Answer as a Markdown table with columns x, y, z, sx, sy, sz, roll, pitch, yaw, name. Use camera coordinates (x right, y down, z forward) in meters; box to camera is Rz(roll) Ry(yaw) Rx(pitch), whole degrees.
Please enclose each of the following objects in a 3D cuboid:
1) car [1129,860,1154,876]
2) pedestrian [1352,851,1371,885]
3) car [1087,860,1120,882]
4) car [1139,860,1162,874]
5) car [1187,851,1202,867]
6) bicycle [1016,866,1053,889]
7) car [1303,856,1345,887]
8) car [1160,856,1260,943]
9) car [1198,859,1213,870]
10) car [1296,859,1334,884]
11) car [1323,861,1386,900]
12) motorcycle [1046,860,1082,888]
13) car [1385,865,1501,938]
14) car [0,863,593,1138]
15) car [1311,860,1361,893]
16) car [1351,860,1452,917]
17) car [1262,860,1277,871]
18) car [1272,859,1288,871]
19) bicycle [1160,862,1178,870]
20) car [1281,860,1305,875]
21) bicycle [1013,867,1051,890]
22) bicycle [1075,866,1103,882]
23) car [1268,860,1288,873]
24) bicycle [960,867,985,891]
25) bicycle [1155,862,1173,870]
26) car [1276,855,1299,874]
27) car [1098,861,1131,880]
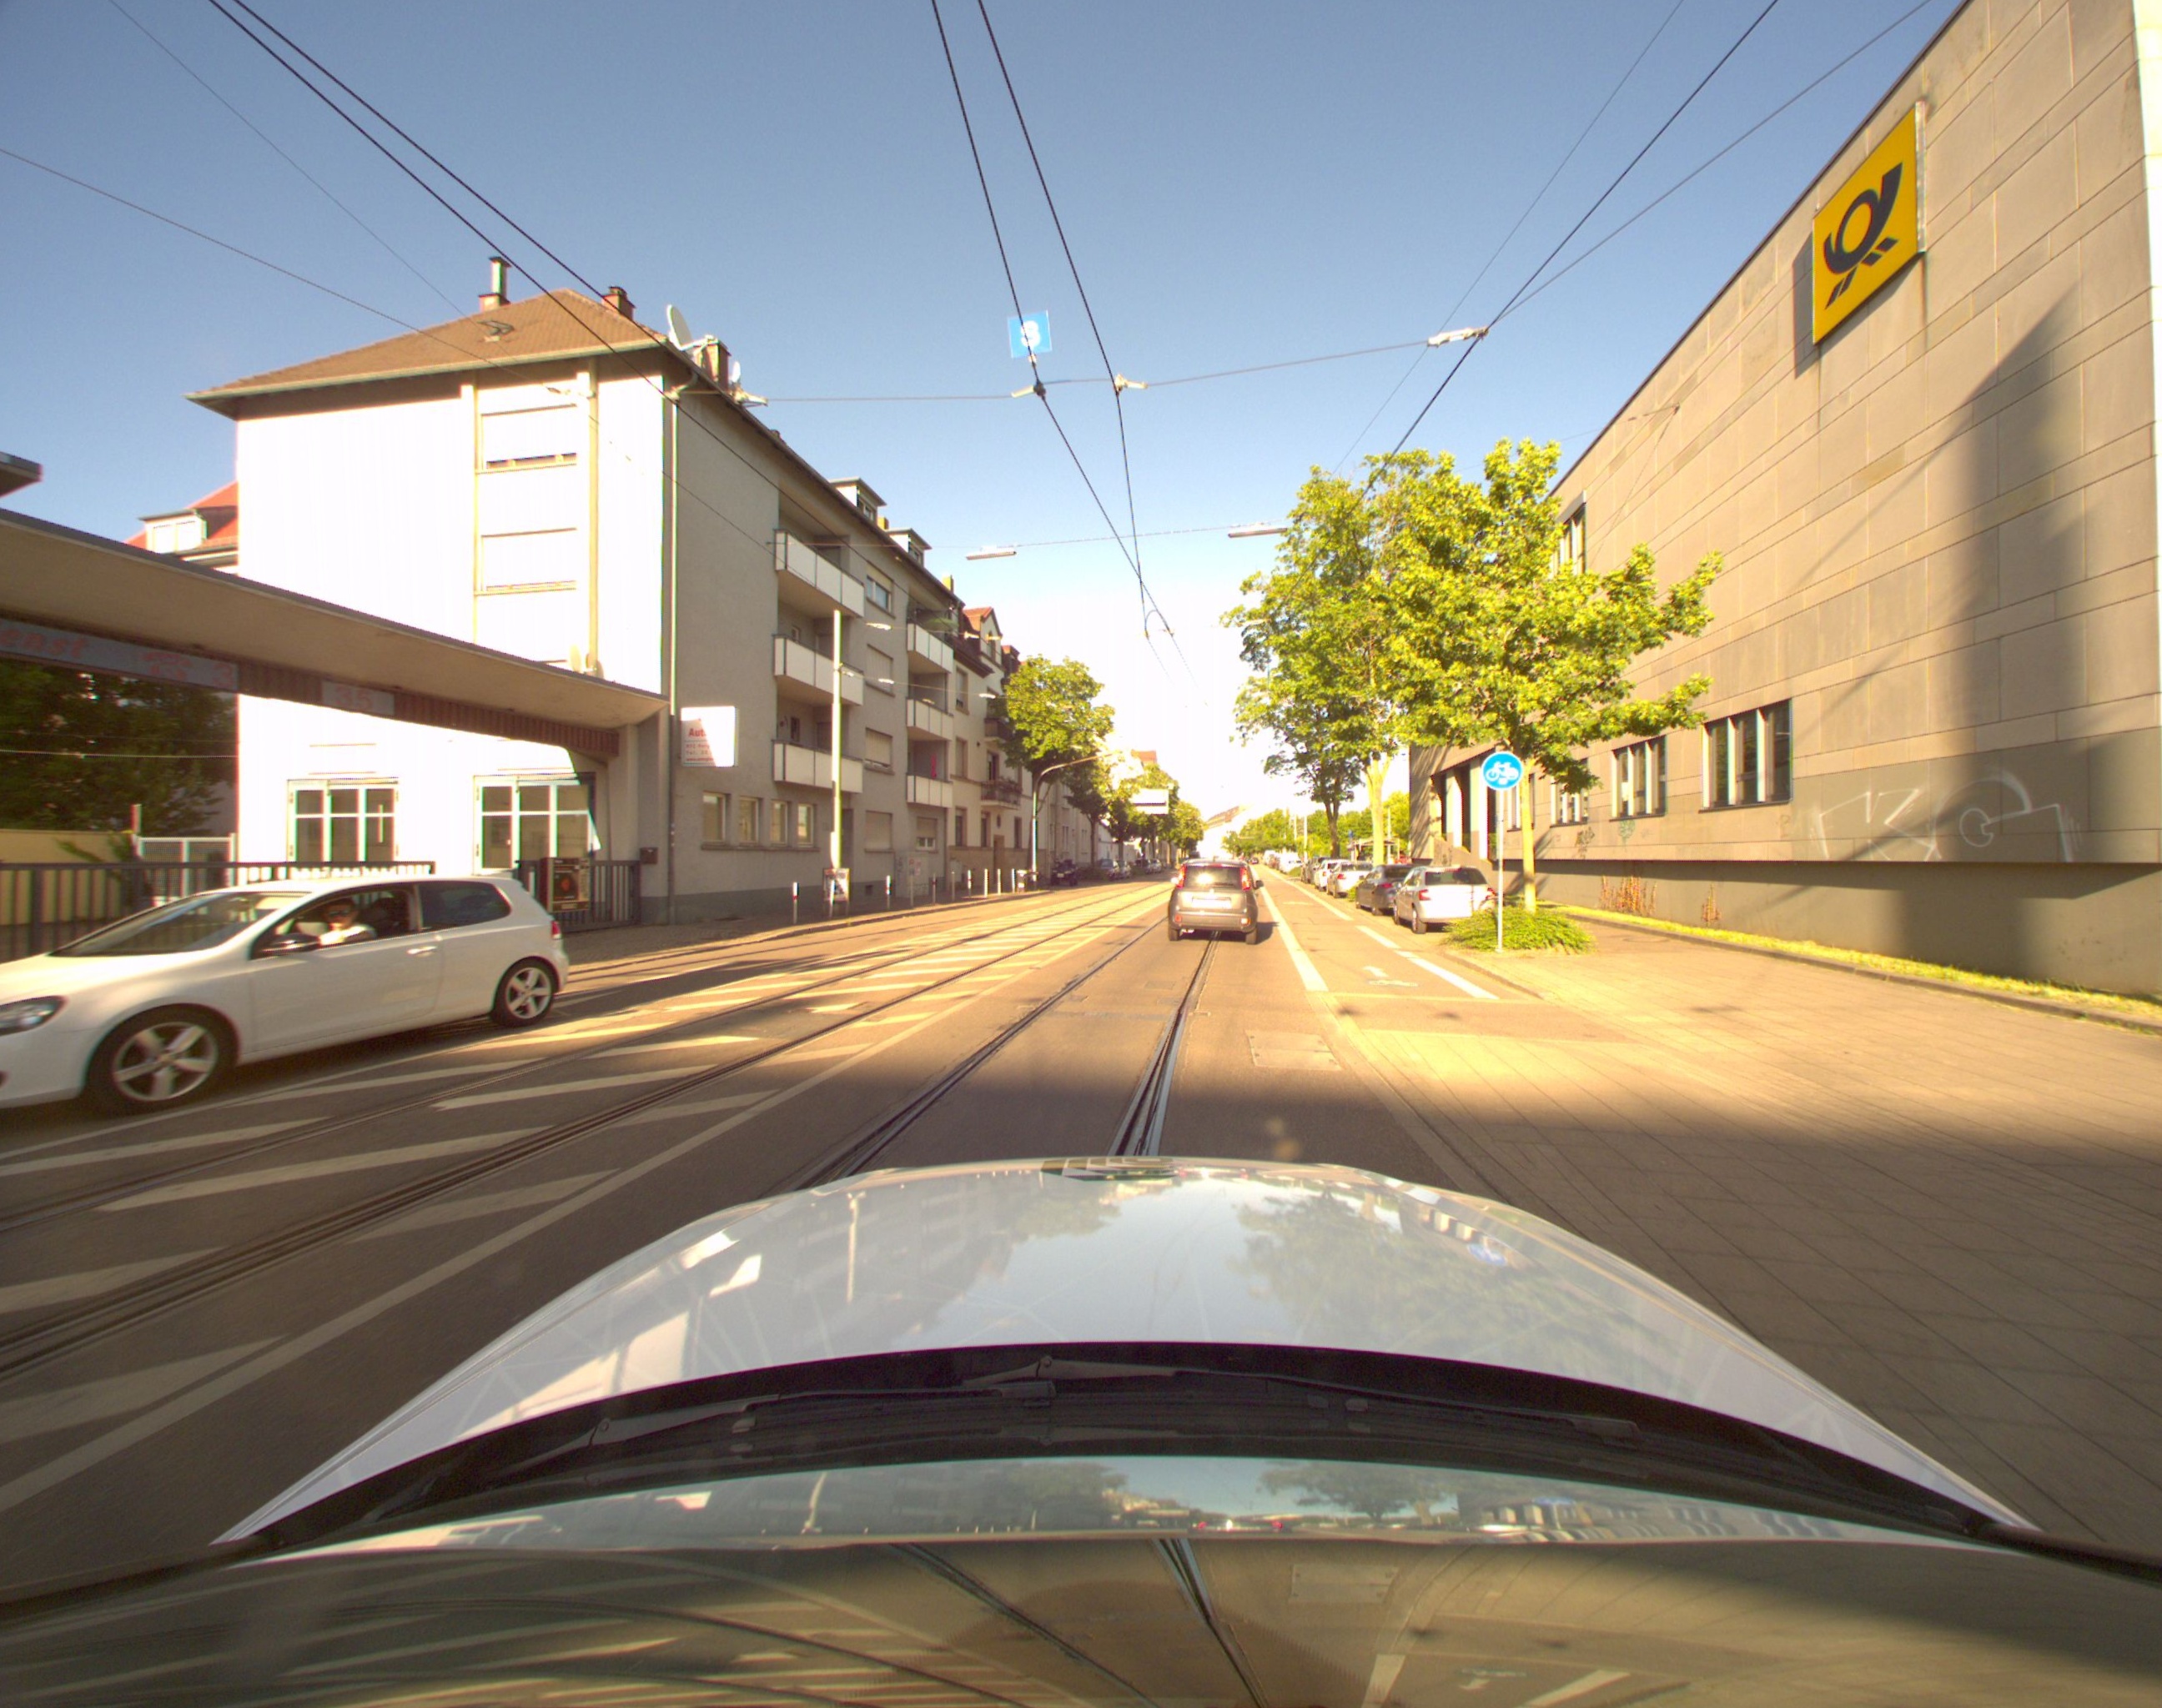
| x | y | z | sx | sy | sz | roll | pitch | yaw | name |
| --- | --- | --- | --- | --- | --- | --- | --- | --- | --- |
| 5.787 | 1.303 | 77.438 | 1.944 | 1.420 | 4.199 | 0 | 0 | 10 | car |
| 16.963 | 0.823 | 49.274 | 0.962 | 2.014 | 1.028 | 0 | -1 | 12 | pedestrian |
| 1.629 | 1.165 | 57.037 | 1.787 | 1.486 | 4.010 | 0 | 0 | 9 | car |
| 7.248 | 1.360 | 84.625 | 1.944 | 1.420 | 4.199 | 0 | 0 | 10 | car |
| 19.105 | 0.881 | 136.908 | 2.318 | 2.569 | 5.689 | 0 | 0 | 11 | car |
| -2.225 | 1.130 | 38.763 | 1.705 | 1.033 | 0.442 | 1 | -1 | -10 | bicycle |
| 13.569 | 0.941 | 45.630 | 1.806 | 1.640 | 4.116 | 0 | 0 | 10 | car |
| 2.643 | 0.813 | 16.184 | 1.720 | 1.500 | 4.012 | 0 | -1 | 11 | car |
| 16.648 | 1.402 | 108.812 | 1.770 | 1.492 | 4.199 | 0 | 0 | 10 | car |
| 14.492 | 1.067 | 50.660 | 1.831 | 1.483 | 4.199 | 0 | 0 | 10 | car |
| 10.789 | 1.004 | 32.376 | 1.810 | 1.464 | 4.169 | 0 | 0 | 11 | car |
| -0.931 | 1.098 | 45.717 | 1.449 | 1.481 | 3.110 | 0 | 0 | 10 | motorcycle |
| 8.241 | 1.012 | 18.873 | 1.631 | 1.455 | 3.927 | 0 | 0 | 12 | car |
| -6.316 | 0.834 | 6.464 | 1.779 | 1.458 | 4.203 | -1 | -1 | 12 | car |
| 11.896 | 1.003 | 38.231 | 1.734 | 1.458 | 4.633 | 0 | 0 | 11 | car |
| 9.223 | 0.932 | 23.805 | 1.828 | 1.490 | 4.655 | 0 | 0 | 10 | car |
| 25.273 | 1.546 | 109.126 | 1.685 | 1.499 | 4.011 | 0 | 0 | 10 | car |
| 25.010 | 1.361 | 102.647 | 1.685 | 1.547 | 4.011 | 0 | 0 | 10 | car |
| 10.919 | 1.469 | 100.924 | 0.795 | 0.930 | 2.297 | 0 | -1 | -43 | bicycle |
| 19.762 | 1.243 | 76.059 | 1.903 | 1.375 | 4.199 | 0 | 0 | 10 | car |
| -2.222 | 1.113 | 36.978 | 1.613 | 1.044 | 0.455 | 2 | -1 | -21 | bicycle |
| 0.494 | 1.296 | 53.197 | 1.744 | 1.023 | 0.607 | 1 | -1 | -9 | bicycle |
| 22.848 | 1.459 | 94.666 | 1.944 | 1.420 | 4.199 | 0 | 0 | 10 | car |
| -4.919 | 1.119 | 36.953 | 0.503 | 1.007 | 2.026 | 0 | 0 | 11 | bicycle |
| 10.208 | 1.457 | 100.228 | 0.795 | 0.930 | 2.238 | 0 | -1 | -43 | bicycle |
| 20.473 | 1.037 | 80.942 | 1.944 | 1.905 | 4.199 | 0 | 0 | 10 | car |
| 2.588 | 1.221 | 62.206 | 1.944 | 1.420 | 4.199 | 0 | 0 | 10 | car |
